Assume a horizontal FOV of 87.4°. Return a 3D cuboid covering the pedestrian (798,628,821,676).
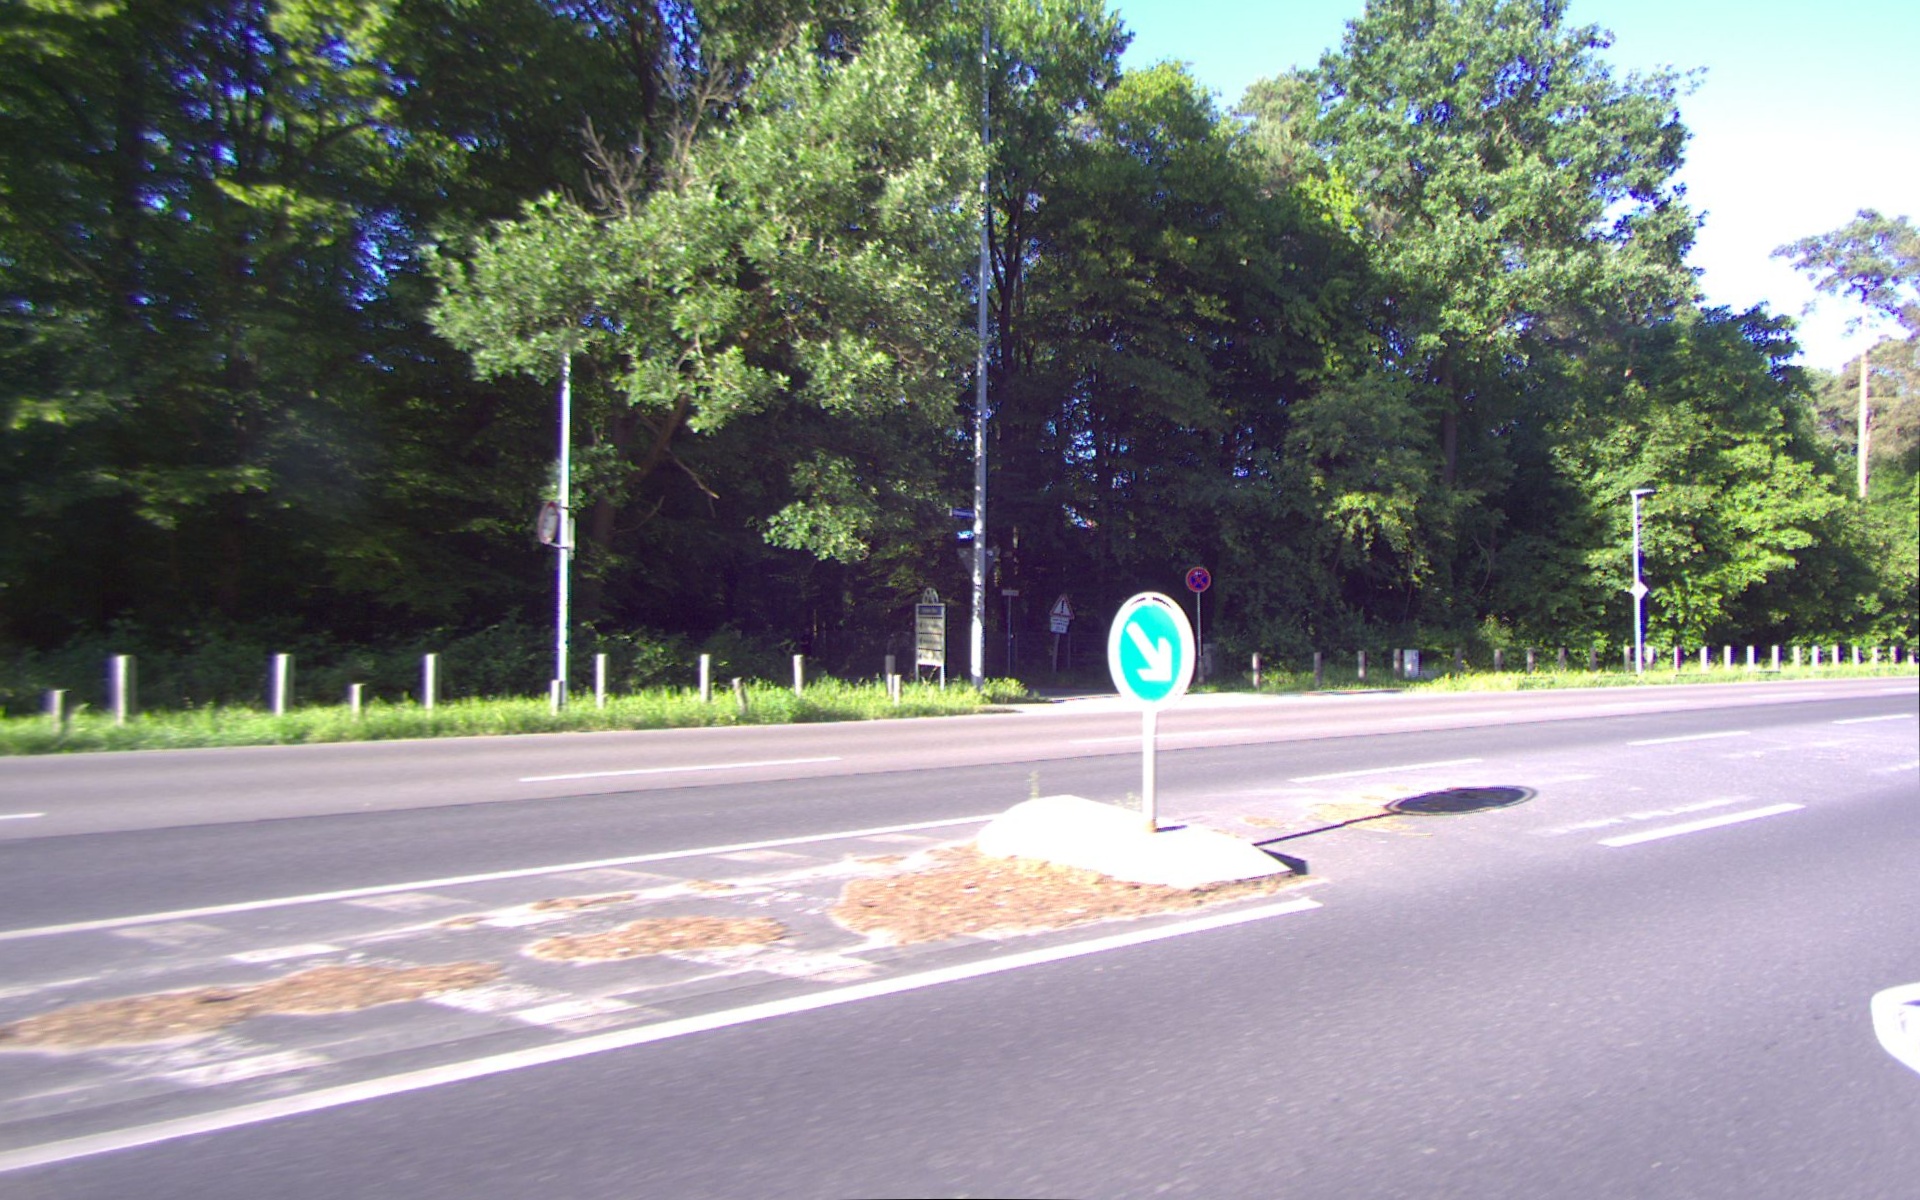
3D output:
[{"bbox_3d":[-5.700,1.962,38.042,0.695,1.769,0.649,1,-2,-28],"label":"pedestrian"}]
